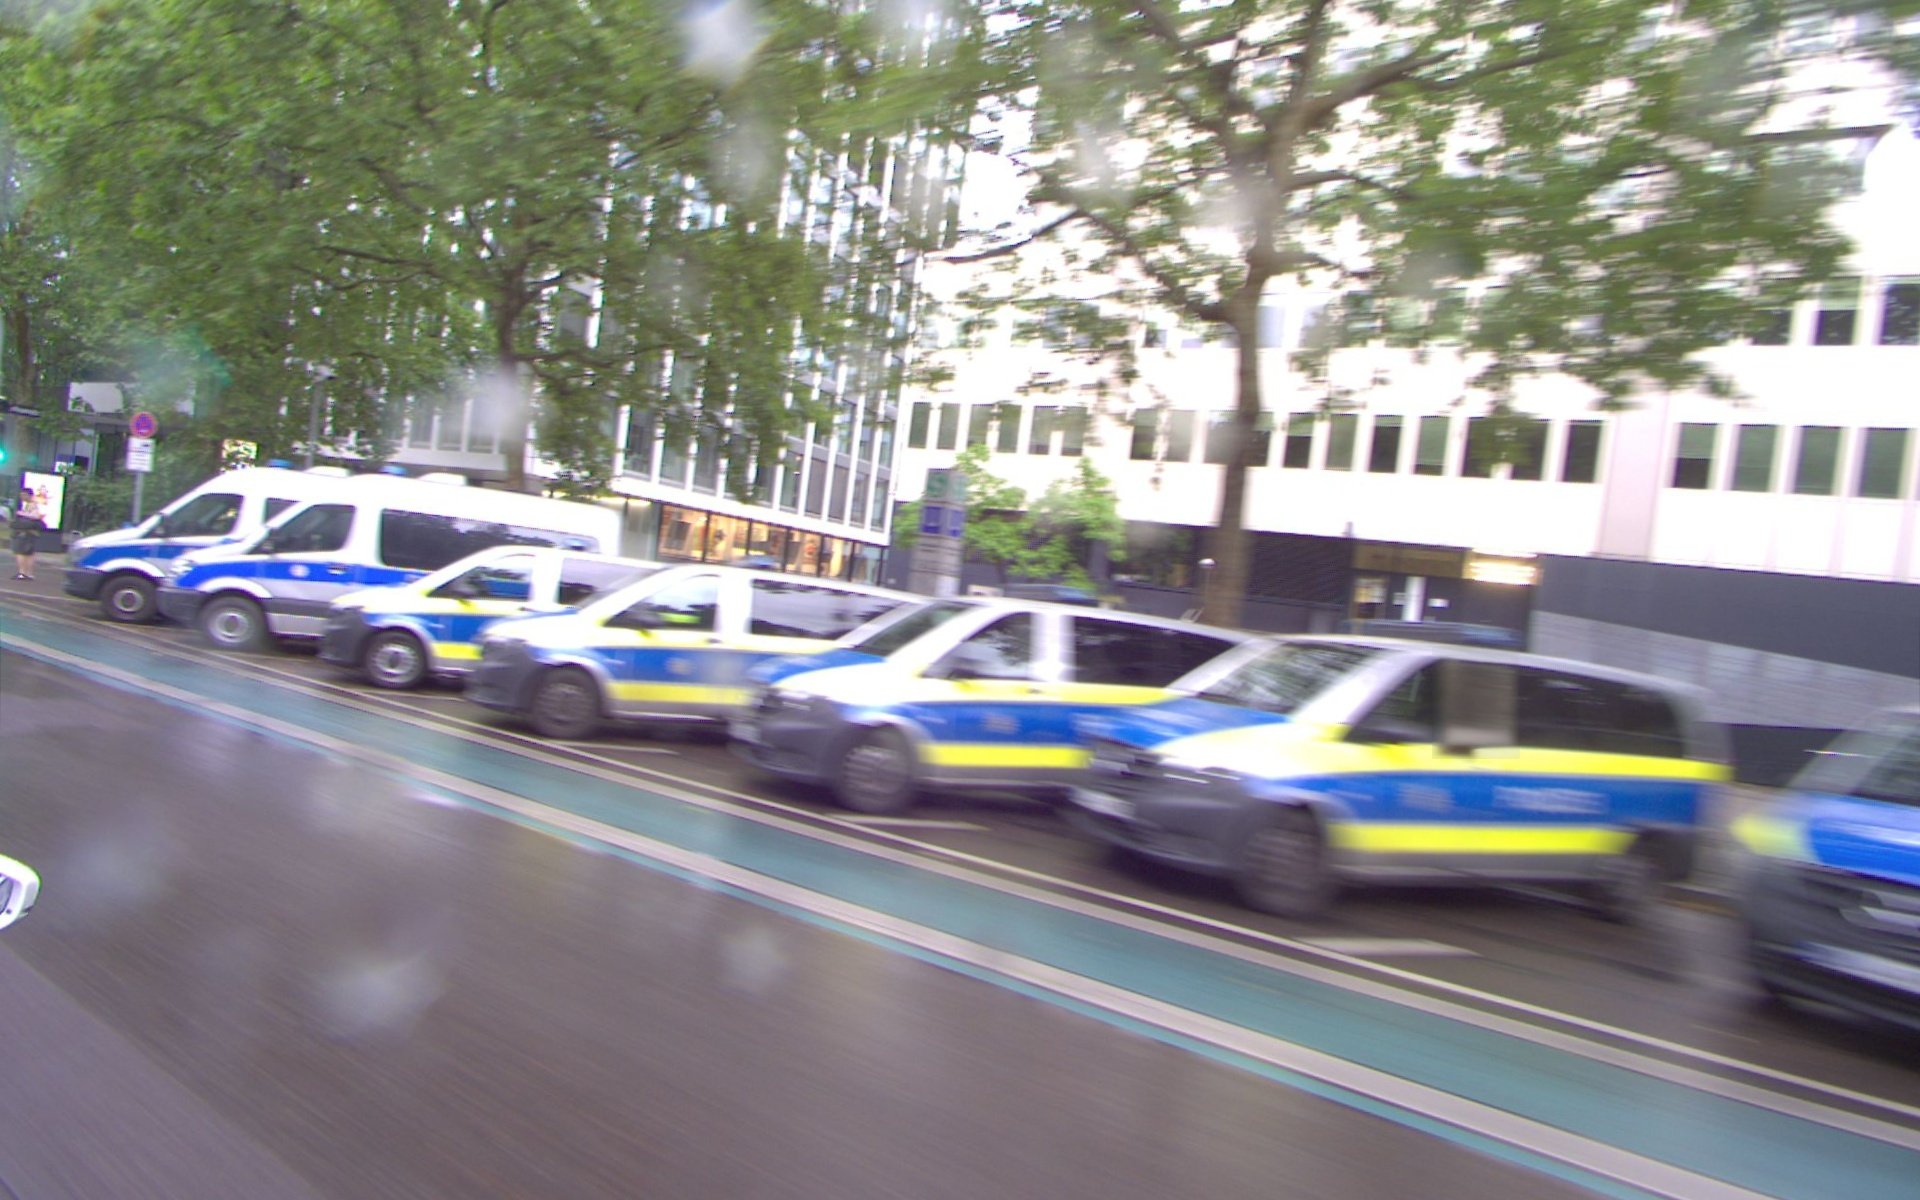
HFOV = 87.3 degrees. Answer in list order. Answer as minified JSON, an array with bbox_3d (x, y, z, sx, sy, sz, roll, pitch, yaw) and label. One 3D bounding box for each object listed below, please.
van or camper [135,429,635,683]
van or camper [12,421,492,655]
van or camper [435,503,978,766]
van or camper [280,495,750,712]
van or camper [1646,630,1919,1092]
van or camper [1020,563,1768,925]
[{"bbox_3d":[-7.942,-0.482,14.644,5.736,2.713,1.989,7,0,-24],"label":"van or camper"},{"bbox_3d":[-10.917,-0.837,16.215,5.737,2.710,2.137,7,-1,-22],"label":"van or camper"},{"bbox_3d":[-2.631,0.468,10.928,5.144,2.015,1.989,8,-2,-24],"label":"van or camper"},{"bbox_3d":[-5.447,0.135,12.886,4.951,2.037,1.990,7,-1,-23],"label":"van or camper"},{"bbox_3d":[6.552,1.491,5.799,4.963,2.019,1.987,7,-1,-26],"label":"van or camper"},{"bbox_3d":[3.270,1.088,7.631,5.038,2.049,2.096,7,0,-21],"label":"van or camper"}]
